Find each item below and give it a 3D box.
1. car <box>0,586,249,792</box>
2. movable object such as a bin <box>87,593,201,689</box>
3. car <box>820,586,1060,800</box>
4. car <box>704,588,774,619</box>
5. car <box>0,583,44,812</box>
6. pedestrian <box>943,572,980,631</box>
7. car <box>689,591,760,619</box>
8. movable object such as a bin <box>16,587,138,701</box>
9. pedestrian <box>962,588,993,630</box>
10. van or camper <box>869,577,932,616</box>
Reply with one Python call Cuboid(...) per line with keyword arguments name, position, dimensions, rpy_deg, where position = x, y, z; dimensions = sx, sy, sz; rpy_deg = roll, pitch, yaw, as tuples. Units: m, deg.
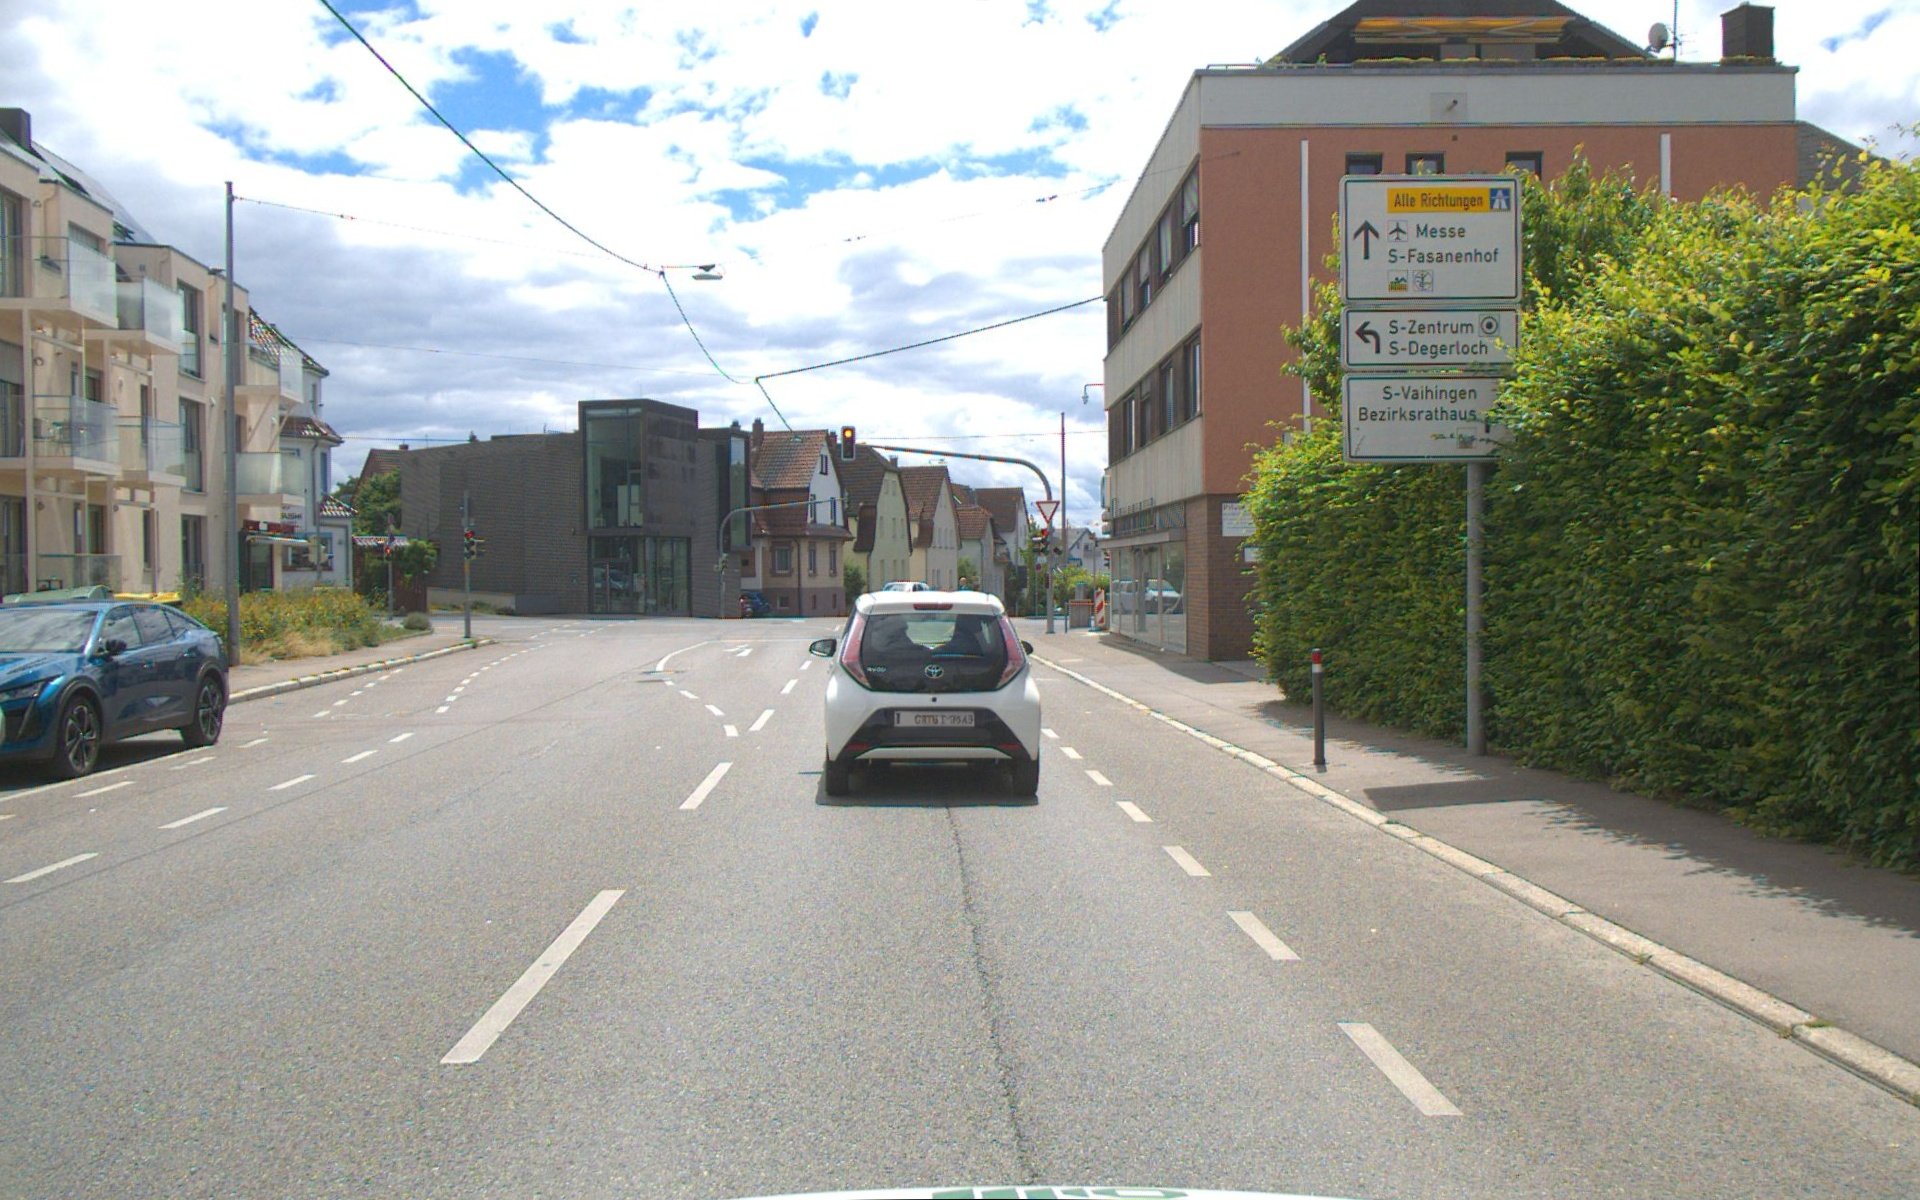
Cuboid(name="car", position=(-8.388, 0.697, 15.225), dimensions=(1.954, 1.615, 4.486), rpy_deg=(-1, 1, -4))
Cuboid(name="movable object such as a bin", position=(-11.851, 0.573, 24.066), dimensions=(1.043, 1.336, 1.214), rpy_deg=(-1, 0, -1))
Cuboid(name="car", position=(-0.245, 0.648, 13.238), dimensions=(1.663, 1.482, 3.296), rpy_deg=(1, 0, -4))
Cuboid(name="car", position=(-12.484, 0.190, 93.400), dimensions=(3.537, 1.633, 1.693), rpy_deg=(1, 0, 9))
Cuboid(name="car", position=(-7.972, 0.749, 10.432), dimensions=(1.953, 1.679, 4.516), rpy_deg=(-1, 1, -2))
Cuboid(name="pedestrian", position=(0.043, 0.042, 50.315), dimensions=(0.814, 1.751, 0.809), rpy_deg=(0, 0, -30))
Cuboid(name="car", position=(-12.956, 0.287, 91.137), dimensions=(3.537, 1.444, 1.693), rpy_deg=(1, 0, 9))
Cuboid(name="movable object such as a bin", position=(-12.153, 0.586, 22.806), dimensions=(1.044, 1.508, 1.213), rpy_deg=(-1, 0, -4))
Cuboid(name="pedestrian", position=(0.521, 0.270, 49.751), dimensions=(0.725, 1.243, 0.640), rpy_deg=(0, 0, -29))
Cuboid(name="van or camper", position=(-3.142, -0.196, 88.398), dimensions=(2.070, 1.959, 5.290), rpy_deg=(1, 0, 13))
